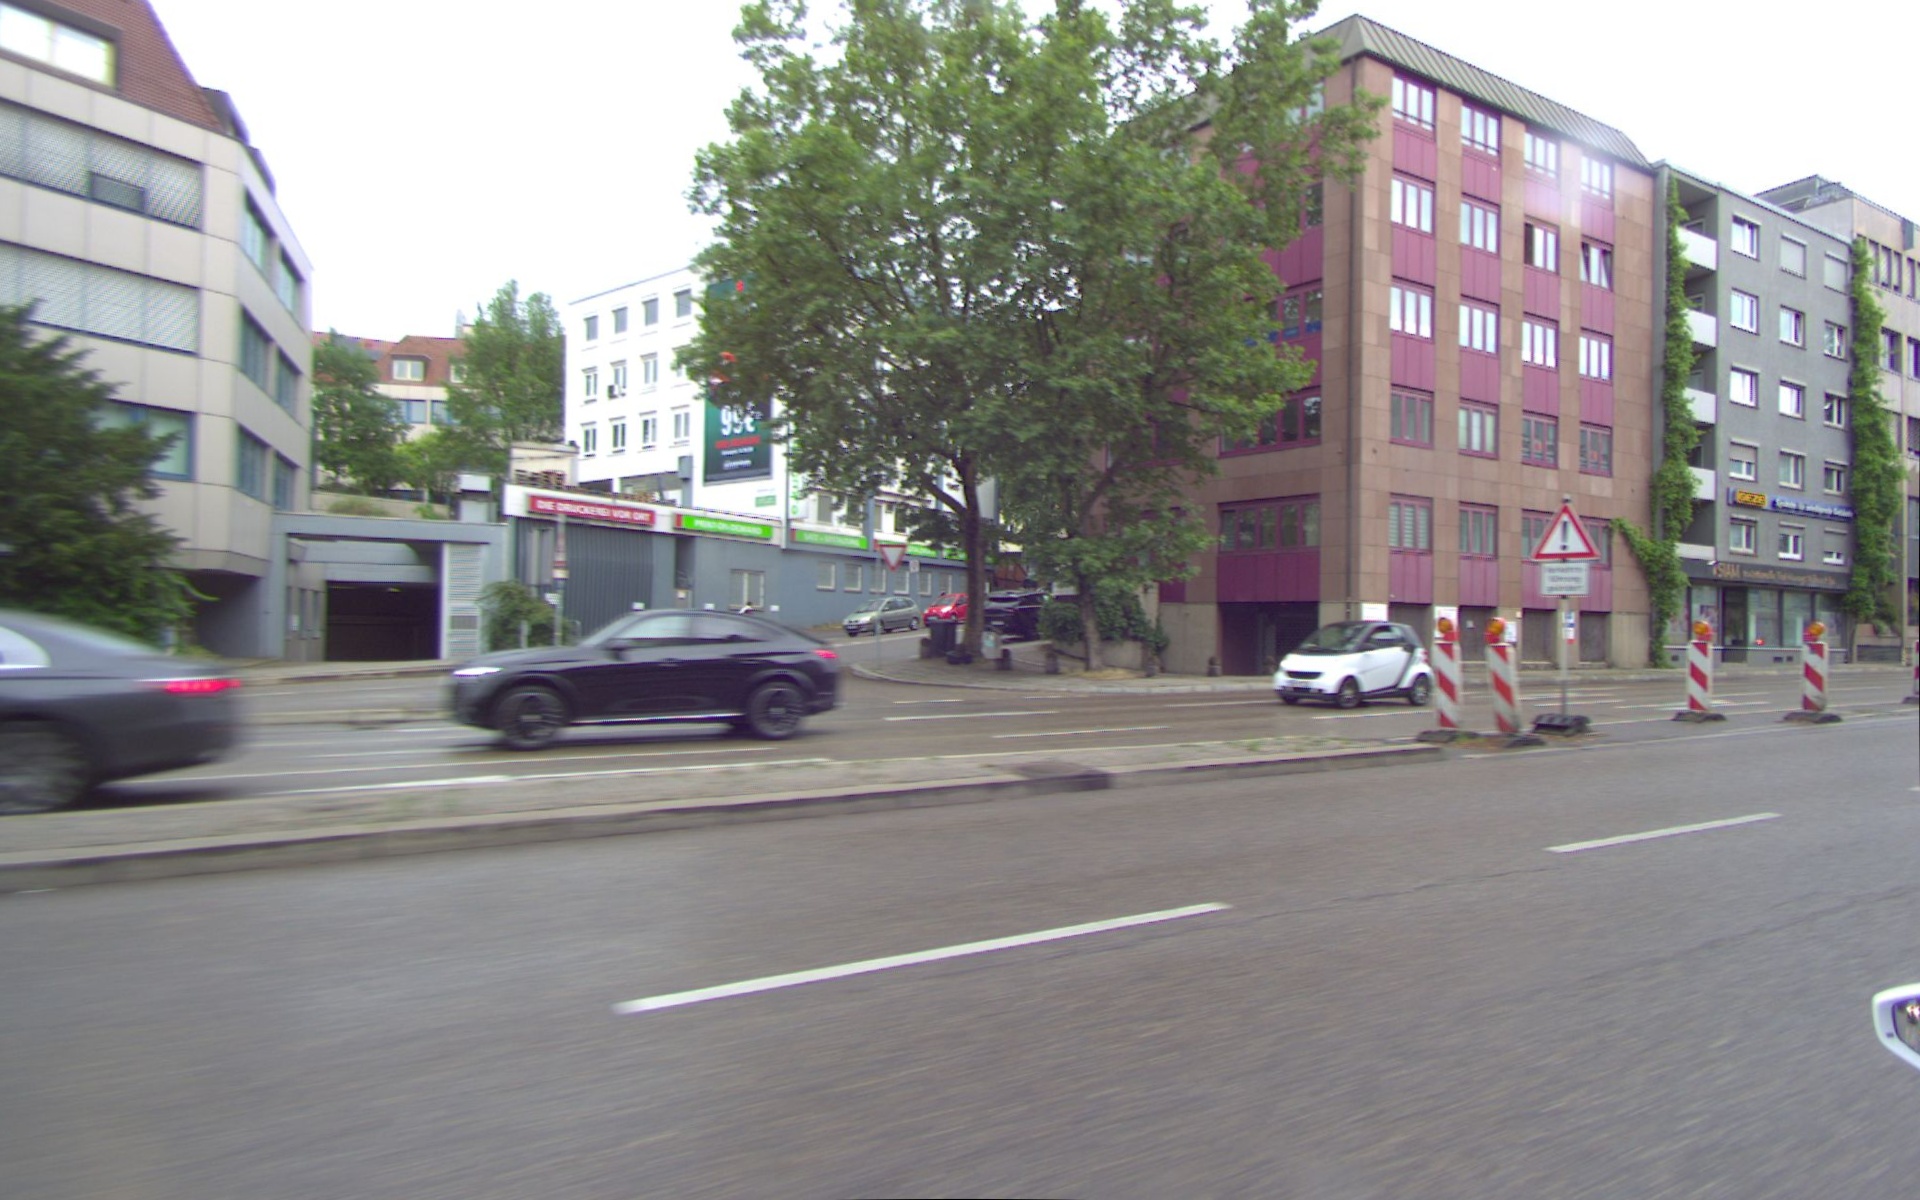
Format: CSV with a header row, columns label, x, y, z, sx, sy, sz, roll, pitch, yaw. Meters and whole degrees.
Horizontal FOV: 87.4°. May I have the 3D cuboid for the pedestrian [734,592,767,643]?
label,x,y,z,sx,sy,sz,roll,pitch,yaw
pedestrian,-8.600,0.733,41.234,0.828,2.040,0.978,-1,-2,35

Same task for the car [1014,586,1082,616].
label,x,y,z,sx,sy,sz,roll,pitch,yaw
car,4.971,0.062,56.444,1.812,1.450,4.049,-1,2,40

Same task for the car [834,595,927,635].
label,x,y,z,sx,sy,sz,roll,pitch,yaw
car,-3.468,0.652,44.512,1.809,1.483,4.161,-2,2,36

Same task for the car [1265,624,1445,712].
label,x,y,z,sx,sy,sz,roll,pitch,yaw
car,7.279,1.212,18.535,2.910,1.504,1.551,1,-2,-26

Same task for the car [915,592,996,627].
label,x,y,z,sx,sy,sz,roll,pitch,yaw
car,-0.176,0.438,49.129,1.810,1.450,4.052,-1,2,38

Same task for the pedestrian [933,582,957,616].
label,x,y,z,sx,sy,sz,roll,pitch,yaw
pedestrian,-0.803,-0.057,52.618,0.828,1.740,0.978,-1,-2,35

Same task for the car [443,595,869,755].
label,x,y,z,sx,sy,sz,roll,pitch,yaw
car,-3.776,0.877,12.750,4.878,1.699,1.985,1,-3,-30

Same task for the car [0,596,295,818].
label,x,y,z,sx,sy,sz,roll,pitch,yaw
car,-7.646,0.717,6.974,4.878,1.457,1.985,1,-3,-30

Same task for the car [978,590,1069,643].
label,x,y,z,sx,sy,sz,roll,pitch,yaw
car,2.485,0.598,38.426,1.902,1.893,3.992,1,1,30

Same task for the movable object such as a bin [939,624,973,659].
label,x,y,z,sx,sy,sz,roll,pitch,yaw
movable object such as a bin,-0.112,1.217,29.709,0.773,1.009,0.875,0,-2,16
